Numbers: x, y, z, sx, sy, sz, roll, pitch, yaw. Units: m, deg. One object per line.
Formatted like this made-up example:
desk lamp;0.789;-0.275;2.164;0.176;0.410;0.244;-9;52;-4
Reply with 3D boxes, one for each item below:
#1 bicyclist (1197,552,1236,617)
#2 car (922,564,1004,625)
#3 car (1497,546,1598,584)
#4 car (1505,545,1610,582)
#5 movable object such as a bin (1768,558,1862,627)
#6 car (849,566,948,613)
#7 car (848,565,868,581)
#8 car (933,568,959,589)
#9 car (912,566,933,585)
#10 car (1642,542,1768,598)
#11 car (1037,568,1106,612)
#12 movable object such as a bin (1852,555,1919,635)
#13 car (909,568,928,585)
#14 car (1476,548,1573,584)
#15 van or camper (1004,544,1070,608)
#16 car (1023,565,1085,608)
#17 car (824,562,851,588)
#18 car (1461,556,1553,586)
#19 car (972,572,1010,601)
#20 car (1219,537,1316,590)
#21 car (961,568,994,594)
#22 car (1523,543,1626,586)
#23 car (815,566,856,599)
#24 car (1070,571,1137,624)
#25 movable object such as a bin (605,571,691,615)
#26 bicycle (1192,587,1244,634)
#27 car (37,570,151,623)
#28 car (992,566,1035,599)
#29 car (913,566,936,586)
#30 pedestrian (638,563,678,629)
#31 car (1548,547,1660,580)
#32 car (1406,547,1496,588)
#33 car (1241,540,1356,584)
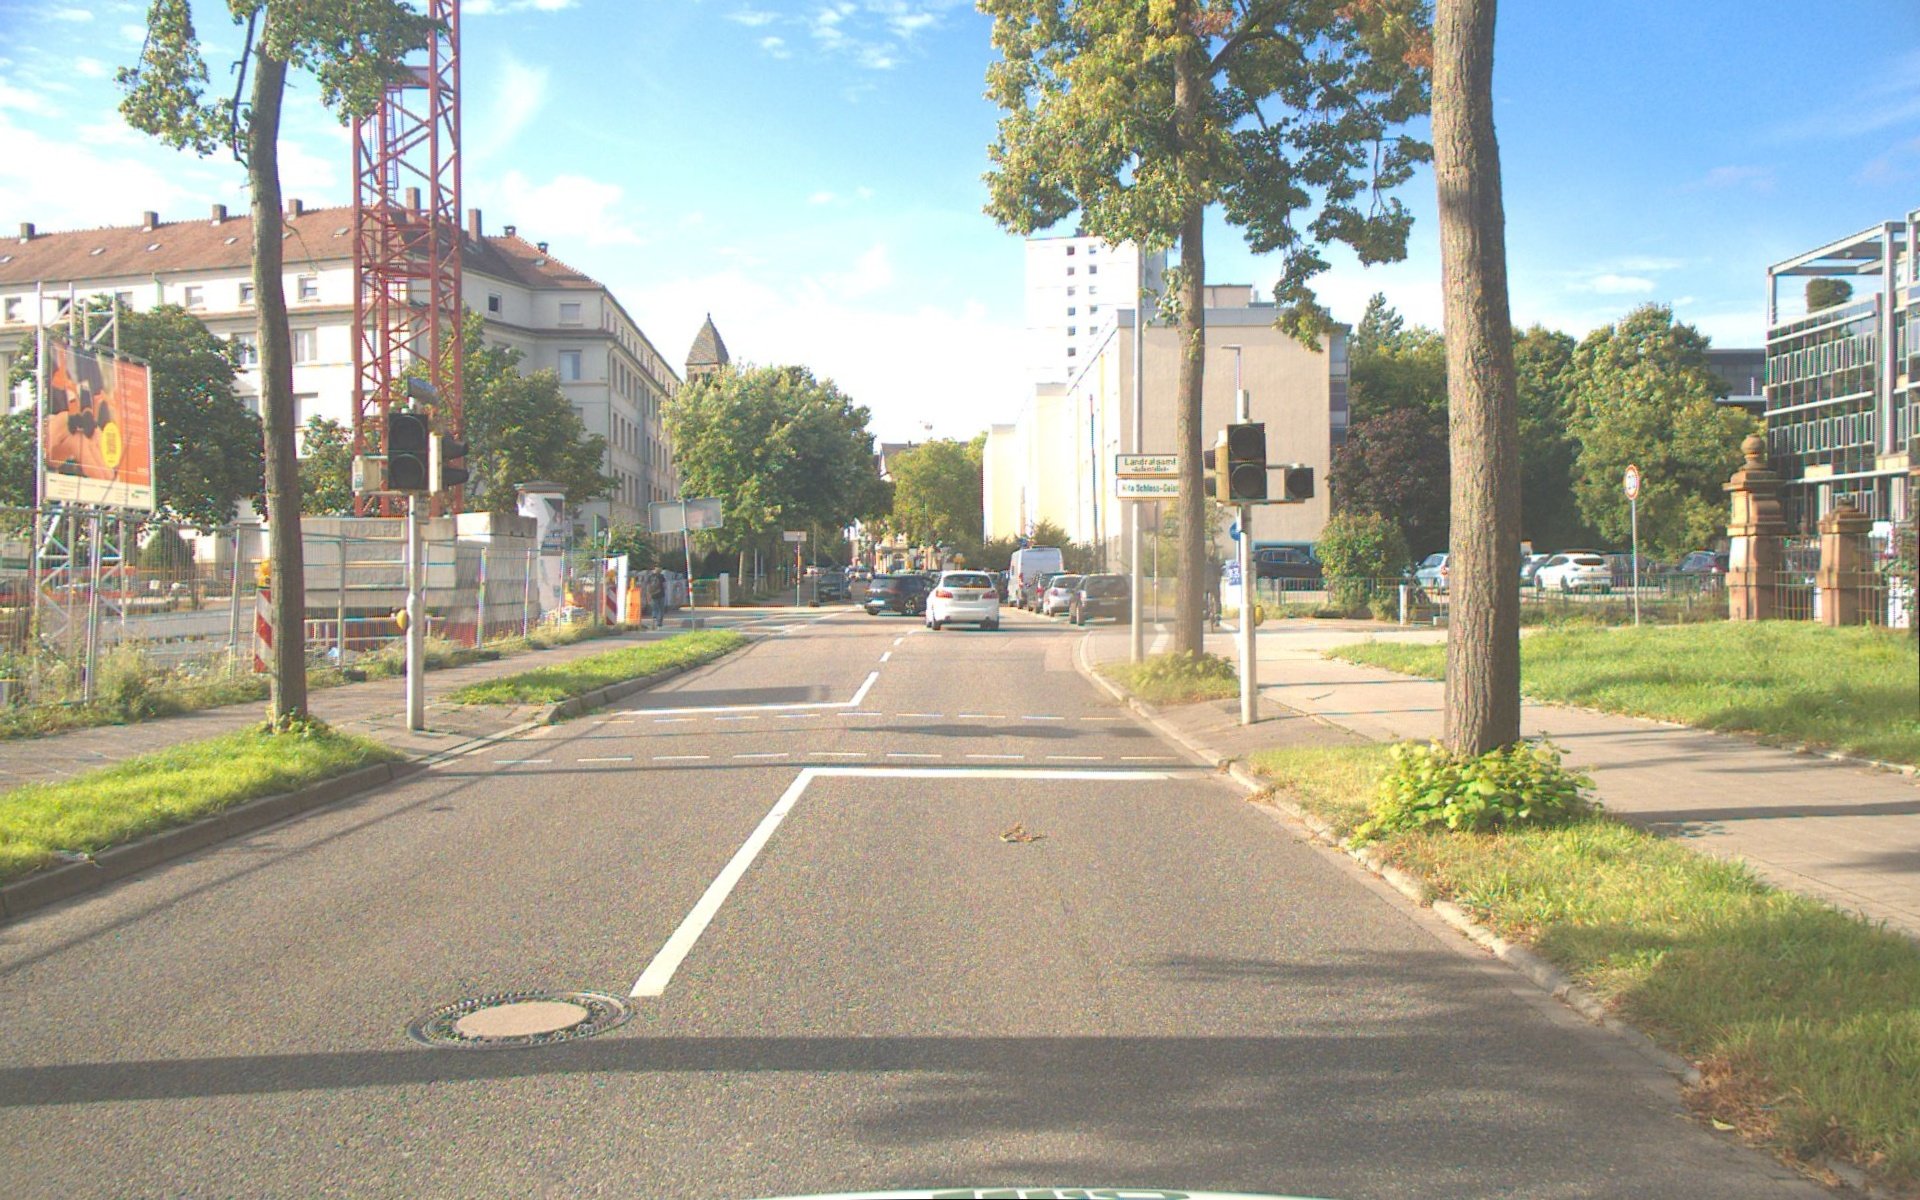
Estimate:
bicyclist;6.261;-0.382;40.337;0.722;1.540;0.874;-3;1;-1
car;0.035;-0.165;44.889;1.954;1.582;4.271;0;1;-4
car;26.919;-1.619;75.862;3.907;1.623;1.999;-2;1;-2
car;26.465;-1.618;73.290;3.907;1.512;1.999;-2;1;-2
movable object such as a bin;15.918;-0.143;30.806;1.167;1.252;1.092;-1;1;-4
car;-2.128;-0.389;58.658;1.953;1.597;3.998;0;1;24
car;-11.823;-3.139;192.148;2.017;1.692;3.920;-2;1;-7
car;-1.141;-1.699;131.990;1.953;1.601;3.999;-2;1;-2
car;-3.659;-2.402;161.444;1.953;1.785;4.000;0;1;0
car;23.020;-0.914;51.319;1.812;1.617;4.607;-2;1;0
car;4.106;-0.396;61.654;1.975;1.500;4.799;-2;1;-3
movable object such as a bin;16.972;-0.098;30.233;0.813;1.448;0.942;-1;1;-4
car;-4.509;-2.564;181.215;1.953;1.785;4.000;0;1;0
car;26.783;-1.624;78.588;3.907;1.579;1.999;-2;1;-2
van or camper;3.339;-1.058;72.777;2.166;2.652;5.367;-2;1;-5
car;3.773;-0.581;66.994;1.954;1.643;4.405;-2;1;-4
car;-10.042;-2.028;135.728;1.953;2.048;3.999;-2;1;-2
car;27.563;-1.469;83.410;3.907;1.352;1.999;-2;1;-3
car;1.736;-0.792;94.513;1.953;1.601;3.999;-2;1;-2
car;13.804;-1.658;74.433;4.033;2.224;2.001;-2;1;2
car;1.126;-1.265;106.981;1.953;1.601;3.999;-2;1;-2
car;22.900;-1.320;61.774;1.956;1.467;3.993;-2;1;-8
car;-6.727;-0.978;89.197;1.956;1.668;3.994;-2;1;-7
car;4.315;-0.097;50.203;1.682;1.522;4.268;0;1;0
movable object such as a bin;-12.412;-0.283;65.786;3.037;1.737;1.411;0;0;13
bicycle;6.291;0.246;40.417;0.725;1.052;2.762;-3;1;-1
car;-35.866;-0.160;68.605;1.951;2.048;4.004;-1;1;14
car;2.690;-0.898;83.938;1.953;1.601;3.999;-2;1;-2
car;-3.226;-2.171;150.855;1.953;1.785;4.000;0;1;0
pedestrian;-8.116;-0.105;44.438;0.989;1.758;1.174;-1;0;-13
car;26.600;-1.512;68.365;3.903;1.333;2.001;0;1;4
car;18.390;-1.220;62.112;1.954;1.467;3.998;-2;1;-3
car;13.931;-1.564;68.240;4.355;1.650;2.001;-2;1;3
